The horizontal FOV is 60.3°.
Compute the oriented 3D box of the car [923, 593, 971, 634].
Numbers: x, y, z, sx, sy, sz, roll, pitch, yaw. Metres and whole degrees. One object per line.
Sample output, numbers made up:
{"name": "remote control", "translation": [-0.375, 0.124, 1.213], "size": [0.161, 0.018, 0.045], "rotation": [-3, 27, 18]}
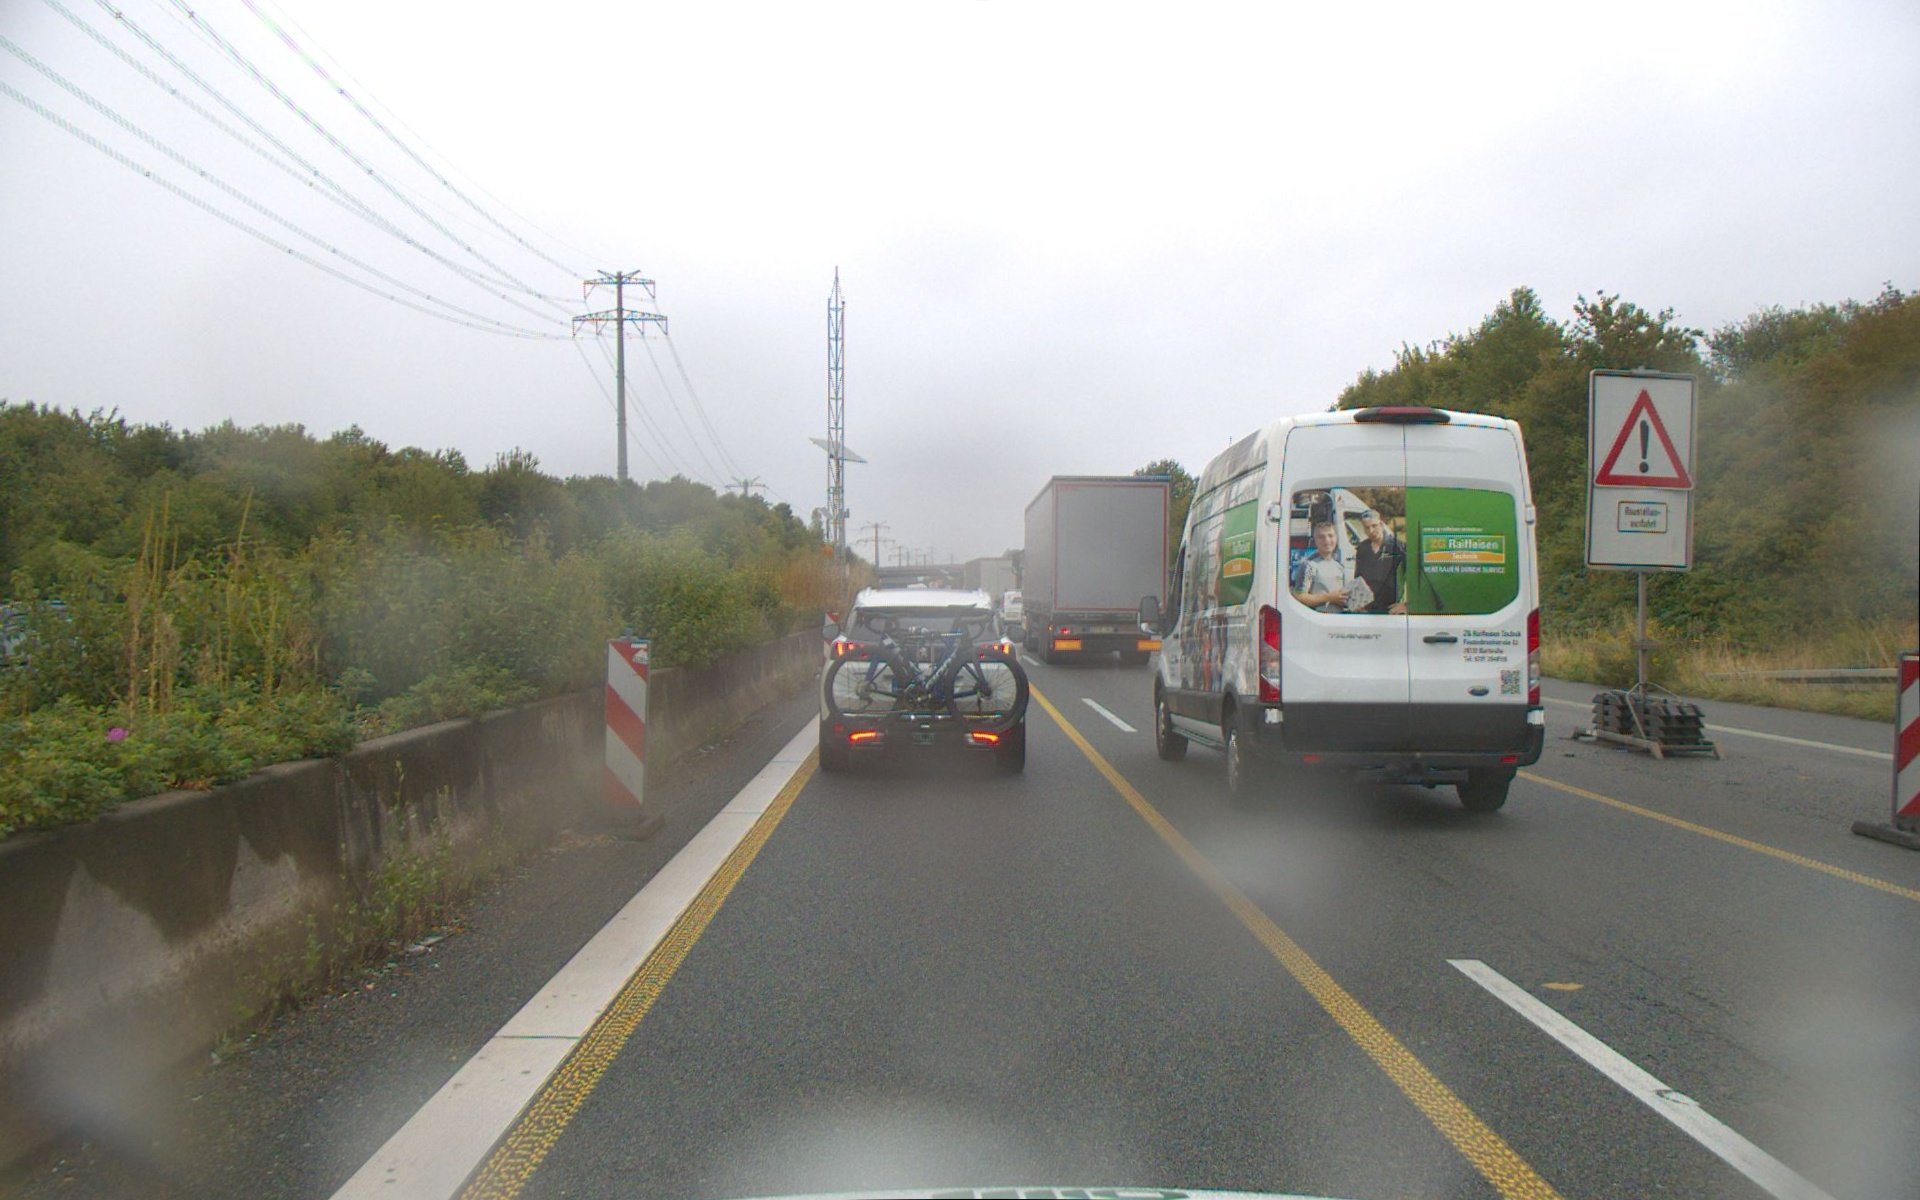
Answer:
{"name": "car", "translation": [-0.511, 0.498, 64.373], "size": [1.812, 1.557, 3.999], "rotation": [0, 0, -1]}

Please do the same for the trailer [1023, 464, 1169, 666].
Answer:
{"name": "trailer", "translation": [3.109, -0.751, 41.600], "size": [2.650, 4.218, 13.732], "rotation": [0, 0, 0]}

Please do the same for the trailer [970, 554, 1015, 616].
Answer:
{"name": "trailer", "translation": [2.217, -1.014, 117.374], "size": [2.638, 4.148, 13.630], "rotation": [0, 0, -1]}

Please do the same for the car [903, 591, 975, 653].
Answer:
{"name": "car", "translation": [-0.558, 0.539, 43.533], "size": [1.812, 1.557, 3.999], "rotation": [0, 0, -1]}

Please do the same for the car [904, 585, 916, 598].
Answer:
{"name": "car", "translation": [-7.833, -1.387, 260.827], "size": [1.892, 1.944, 4.000], "rotation": [0, 1, -1]}

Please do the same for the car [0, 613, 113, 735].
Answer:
{"name": "car", "translation": [-15.296, 1.144, 25.969], "size": [1.953, 1.779, 3.999], "rotation": [-1, 0, -1]}

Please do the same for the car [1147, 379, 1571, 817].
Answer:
{"name": "car", "translation": [2.920, -0.027, 13.628], "size": [1.953, 2.831, 5.754], "rotation": [0, 0, -2]}

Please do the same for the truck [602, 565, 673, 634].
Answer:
{"name": "truck", "translation": [-16.654, -0.037, 85.750], "size": [2.215, 3.284, 7.051], "rotation": [-3, 0, -1]}

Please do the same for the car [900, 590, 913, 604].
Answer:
{"name": "car", "translation": [-7.809, -0.425, 243.146], "size": [1.892, 2.008, 4.000], "rotation": [0, 1, -1]}

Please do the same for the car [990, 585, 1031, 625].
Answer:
{"name": "car", "translation": [2.450, 0.235, 81.784], "size": [1.792, 1.871, 4.654], "rotation": [0, 0, -1]}

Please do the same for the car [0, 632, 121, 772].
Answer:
{"name": "car", "translation": [-11.449, 1.171, 18.834], "size": [1.755, 1.474, 3.999], "rotation": [-1, 0, -1]}

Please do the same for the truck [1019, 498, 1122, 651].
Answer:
{"name": "truck", "translation": [3.149, -0.705, 48.491], "size": [2.651, 4.211, 5.690], "rotation": [0, 0, 0]}

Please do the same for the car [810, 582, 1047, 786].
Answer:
{"name": "car", "translation": [-0.281, 0.638, 15.080], "size": [1.812, 1.557, 4.767], "rotation": [0, 0, -1]}
